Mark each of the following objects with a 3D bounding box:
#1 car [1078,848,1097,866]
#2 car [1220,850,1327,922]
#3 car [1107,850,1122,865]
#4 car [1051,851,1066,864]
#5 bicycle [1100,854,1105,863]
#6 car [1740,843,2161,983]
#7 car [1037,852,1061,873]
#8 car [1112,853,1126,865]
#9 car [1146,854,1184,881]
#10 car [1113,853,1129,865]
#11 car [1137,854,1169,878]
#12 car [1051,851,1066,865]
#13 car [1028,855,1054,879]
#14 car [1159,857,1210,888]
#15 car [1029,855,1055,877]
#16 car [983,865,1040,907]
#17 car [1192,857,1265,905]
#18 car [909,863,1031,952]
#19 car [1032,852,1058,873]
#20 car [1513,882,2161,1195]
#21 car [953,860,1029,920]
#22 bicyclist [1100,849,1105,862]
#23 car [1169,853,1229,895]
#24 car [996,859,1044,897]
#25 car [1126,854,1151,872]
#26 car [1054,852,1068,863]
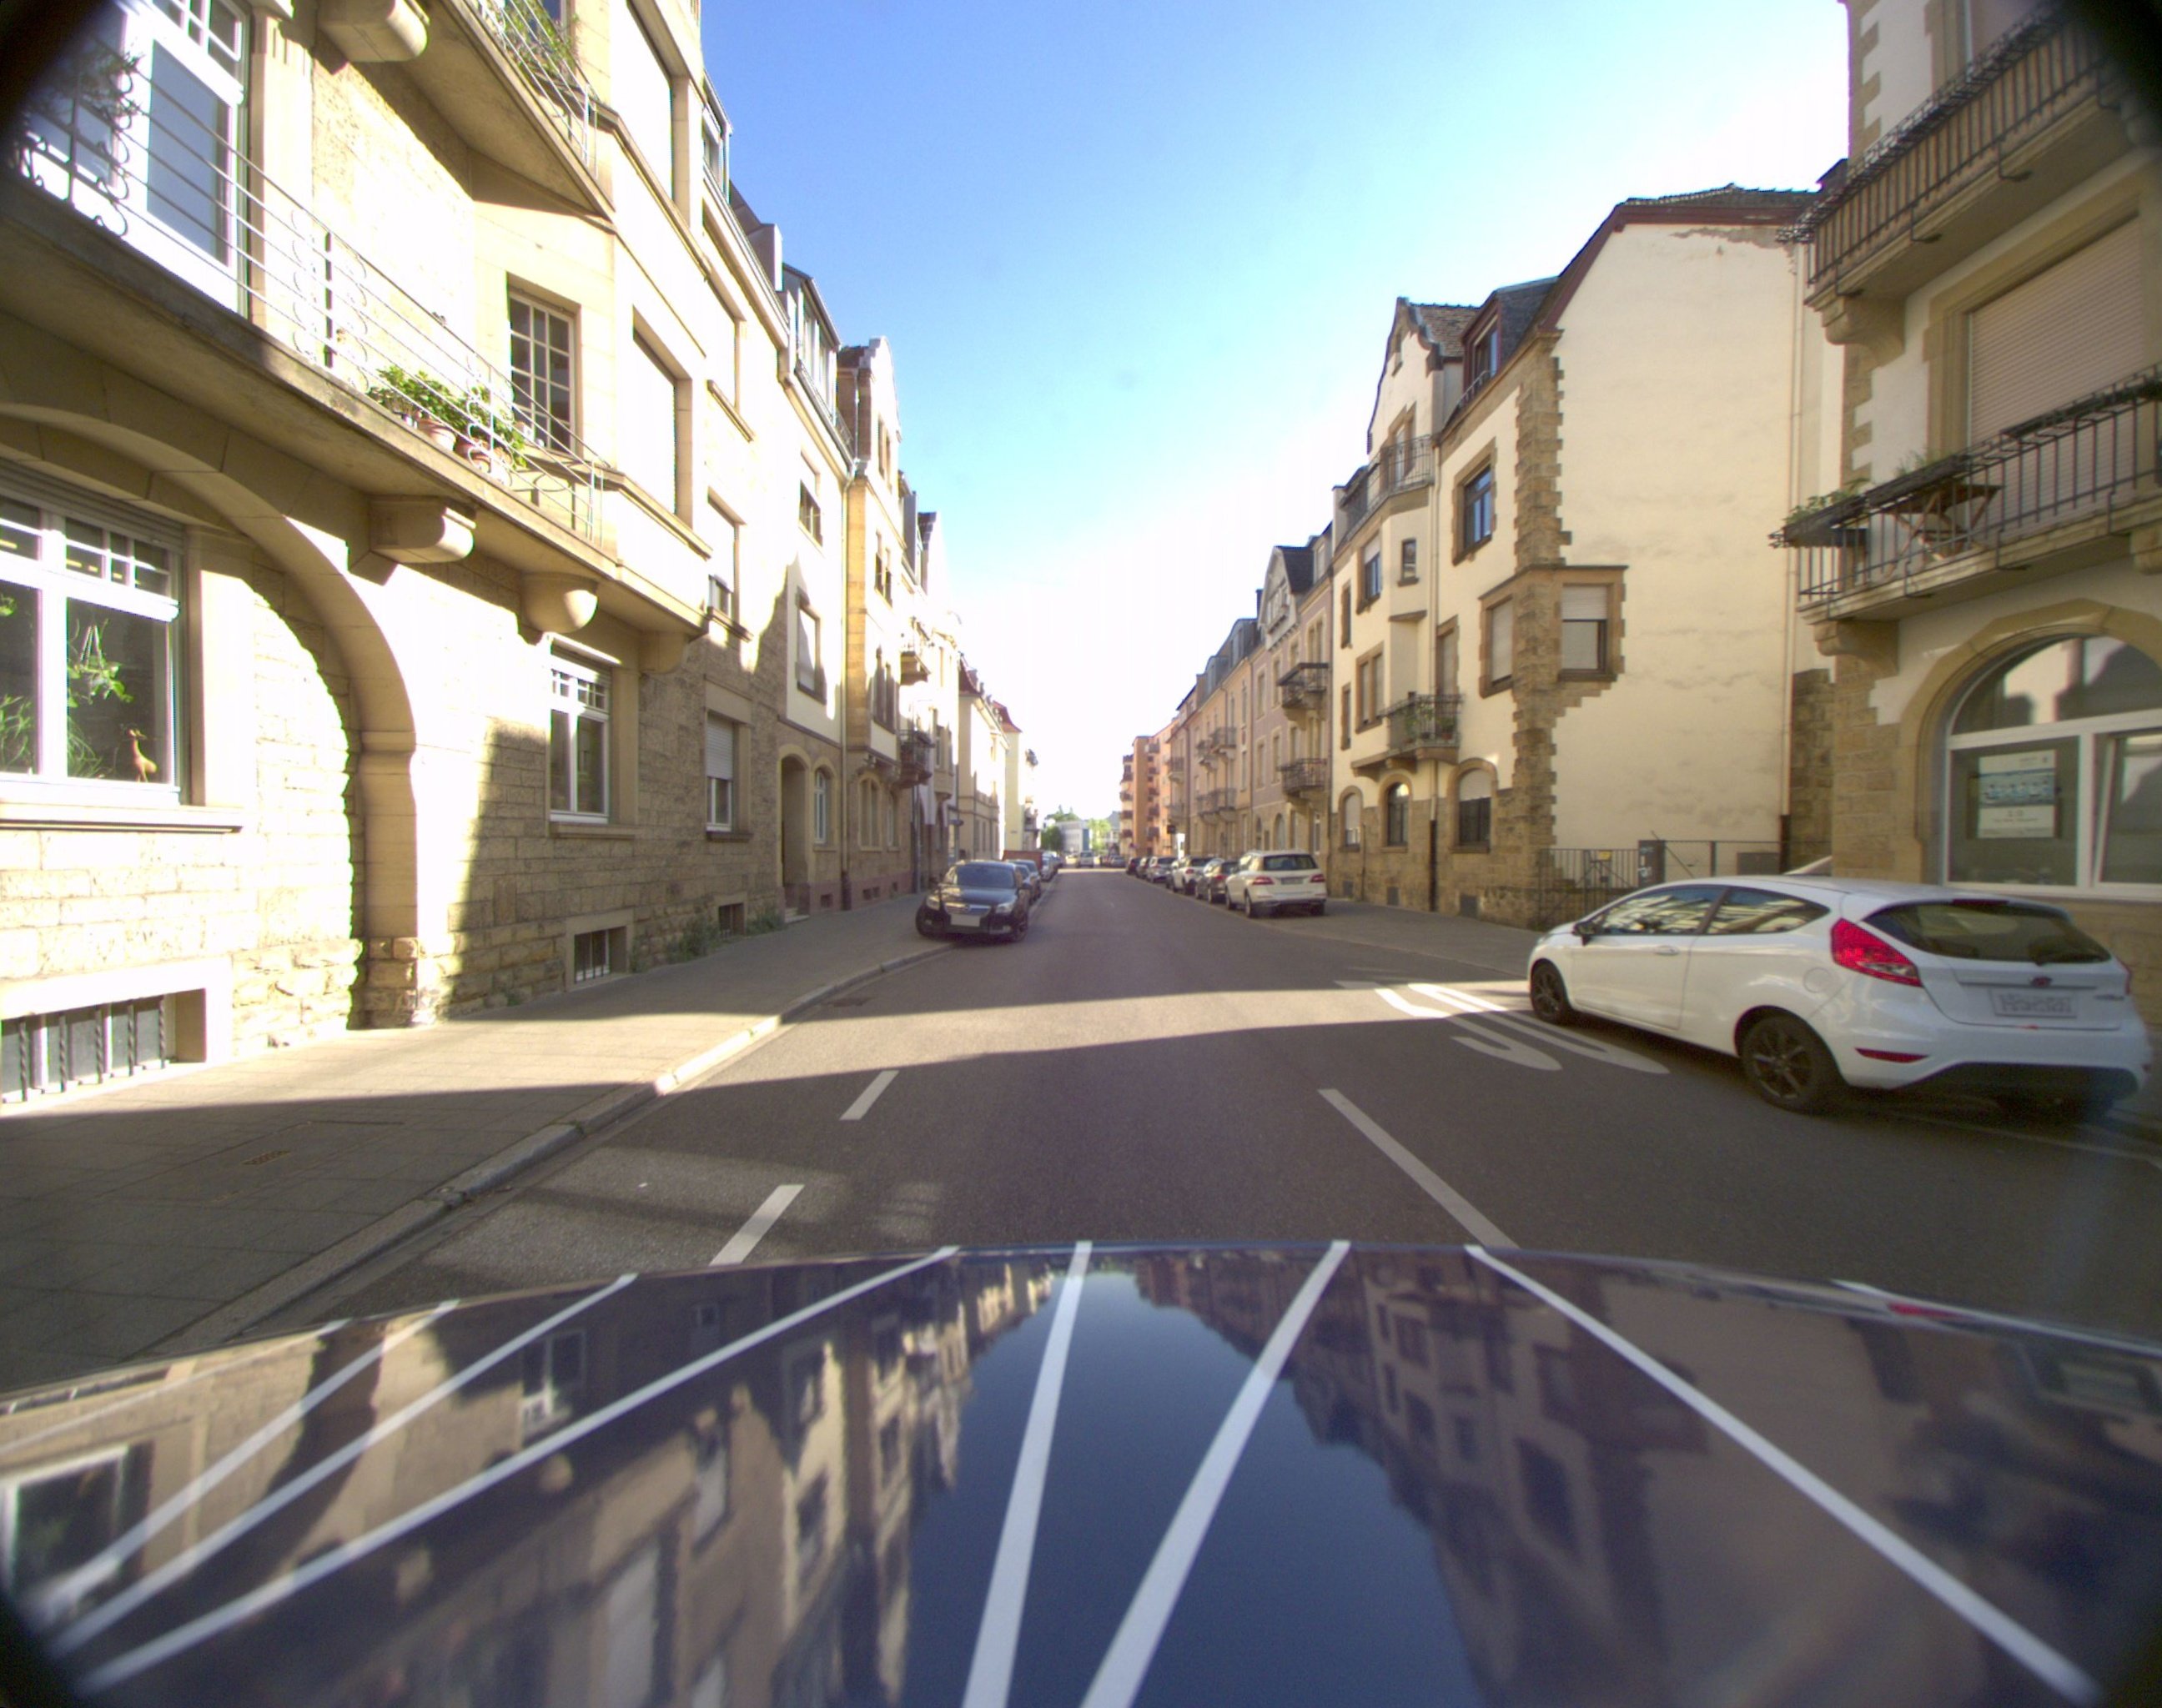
[{"bbox_3d":[0.759,0.336,86.439,1.868,1.925,4.598,0,0,-3],"label":"car"},{"bbox_3d":[5.128,0.781,20.915,1.896,1.712,4.727,-2,0,2],"label":"car"},{"bbox_3d":[4.440,0.494,101.965,1.822,1.867,4.110,-1,1,0],"label":"car"},{"bbox_3d":[-2.748,0.410,93.361,1.708,1.417,3.721,1,1,-1],"label":"car"},{"bbox_3d":[2.678,0.588,93.737,0.541,1.070,1.800,0,0,1],"label":"bicycle"},{"bbox_3d":[11.836,0.732,10.389,3.978,1.718,1.909,0,0,0],"label":"car"},{"bbox_3d":[-2.638,0.688,63.528,1.791,1.655,4.434,0,0,1],"label":"car"},{"bbox_3d":[4.763,0.582,95.595,1.678,1.414,3.285,1,0,0],"label":"car"},{"bbox_3d":[5.006,0.761,45.707,1.719,1.529,3.723,-1,0,-2],"label":"car"},{"bbox_3d":[4.793,0.569,91.169,1.678,1.414,3.500,0,0,0],"label":"car"},{"bbox_3d":[4.899,0.796,52.400,1.719,1.512,4.109,1,0,-1],"label":"car"},{"bbox_3d":[-2.606,0.451,87.897,1.708,1.417,3.721,1,1,-1],"label":"car"},{"bbox_3d":[-2.467,0.784,47.639,1.590,1.456,3.711,0,0,-2],"label":"car"},{"bbox_3d":[5.044,0.878,37.577,1.677,1.385,3.664,-3,0,-5],"label":"car"},{"bbox_3d":[-2.665,0.779,53.026,1.657,1.456,4.093,0,0,-1],"label":"car"},{"bbox_3d":[-2.344,1.064,26.286,1.697,1.247,3.940,-1,0,-2],"label":"car"},{"bbox_3d":[5.067,0.882,26.628,1.578,1.478,4.279,-2,0,-2],"label":"car"},{"bbox_3d":[-2.065,0.955,15.322,1.870,1.453,4.338,0,0,-1],"label":"car"},{"bbox_3d":[-2.757,0.649,59.094,1.684,1.537,3.914,1,0,1],"label":"car"},{"bbox_3d":[5.129,1.023,5.806,1.637,1.455,3.735,0,1,2],"label":"car"},{"bbox_3d":[-2.379,0.901,20.904,1.655,1.434,4.257,1,0,-1],"label":"car"},{"bbox_3d":[2.676,0.195,93.658,0.609,1.656,0.632,0,1,0],"label":"bicyclist"},{"bbox_3d":[4.925,0.803,32.193,1.719,1.574,4.019,-3,0,-2],"label":"car"},{"bbox_3d":[-2.423,0.912,30.490,1.791,1.421,3.806,0,0,-4],"label":"car"},{"bbox_3d":[4.730,0.726,62.686,1.719,1.378,3.864,-3,0,0],"label":"car"},{"bbox_3d":[-2.642,0.486,99.711,1.708,1.417,3.721,0,0,-2],"label":"car"}]
